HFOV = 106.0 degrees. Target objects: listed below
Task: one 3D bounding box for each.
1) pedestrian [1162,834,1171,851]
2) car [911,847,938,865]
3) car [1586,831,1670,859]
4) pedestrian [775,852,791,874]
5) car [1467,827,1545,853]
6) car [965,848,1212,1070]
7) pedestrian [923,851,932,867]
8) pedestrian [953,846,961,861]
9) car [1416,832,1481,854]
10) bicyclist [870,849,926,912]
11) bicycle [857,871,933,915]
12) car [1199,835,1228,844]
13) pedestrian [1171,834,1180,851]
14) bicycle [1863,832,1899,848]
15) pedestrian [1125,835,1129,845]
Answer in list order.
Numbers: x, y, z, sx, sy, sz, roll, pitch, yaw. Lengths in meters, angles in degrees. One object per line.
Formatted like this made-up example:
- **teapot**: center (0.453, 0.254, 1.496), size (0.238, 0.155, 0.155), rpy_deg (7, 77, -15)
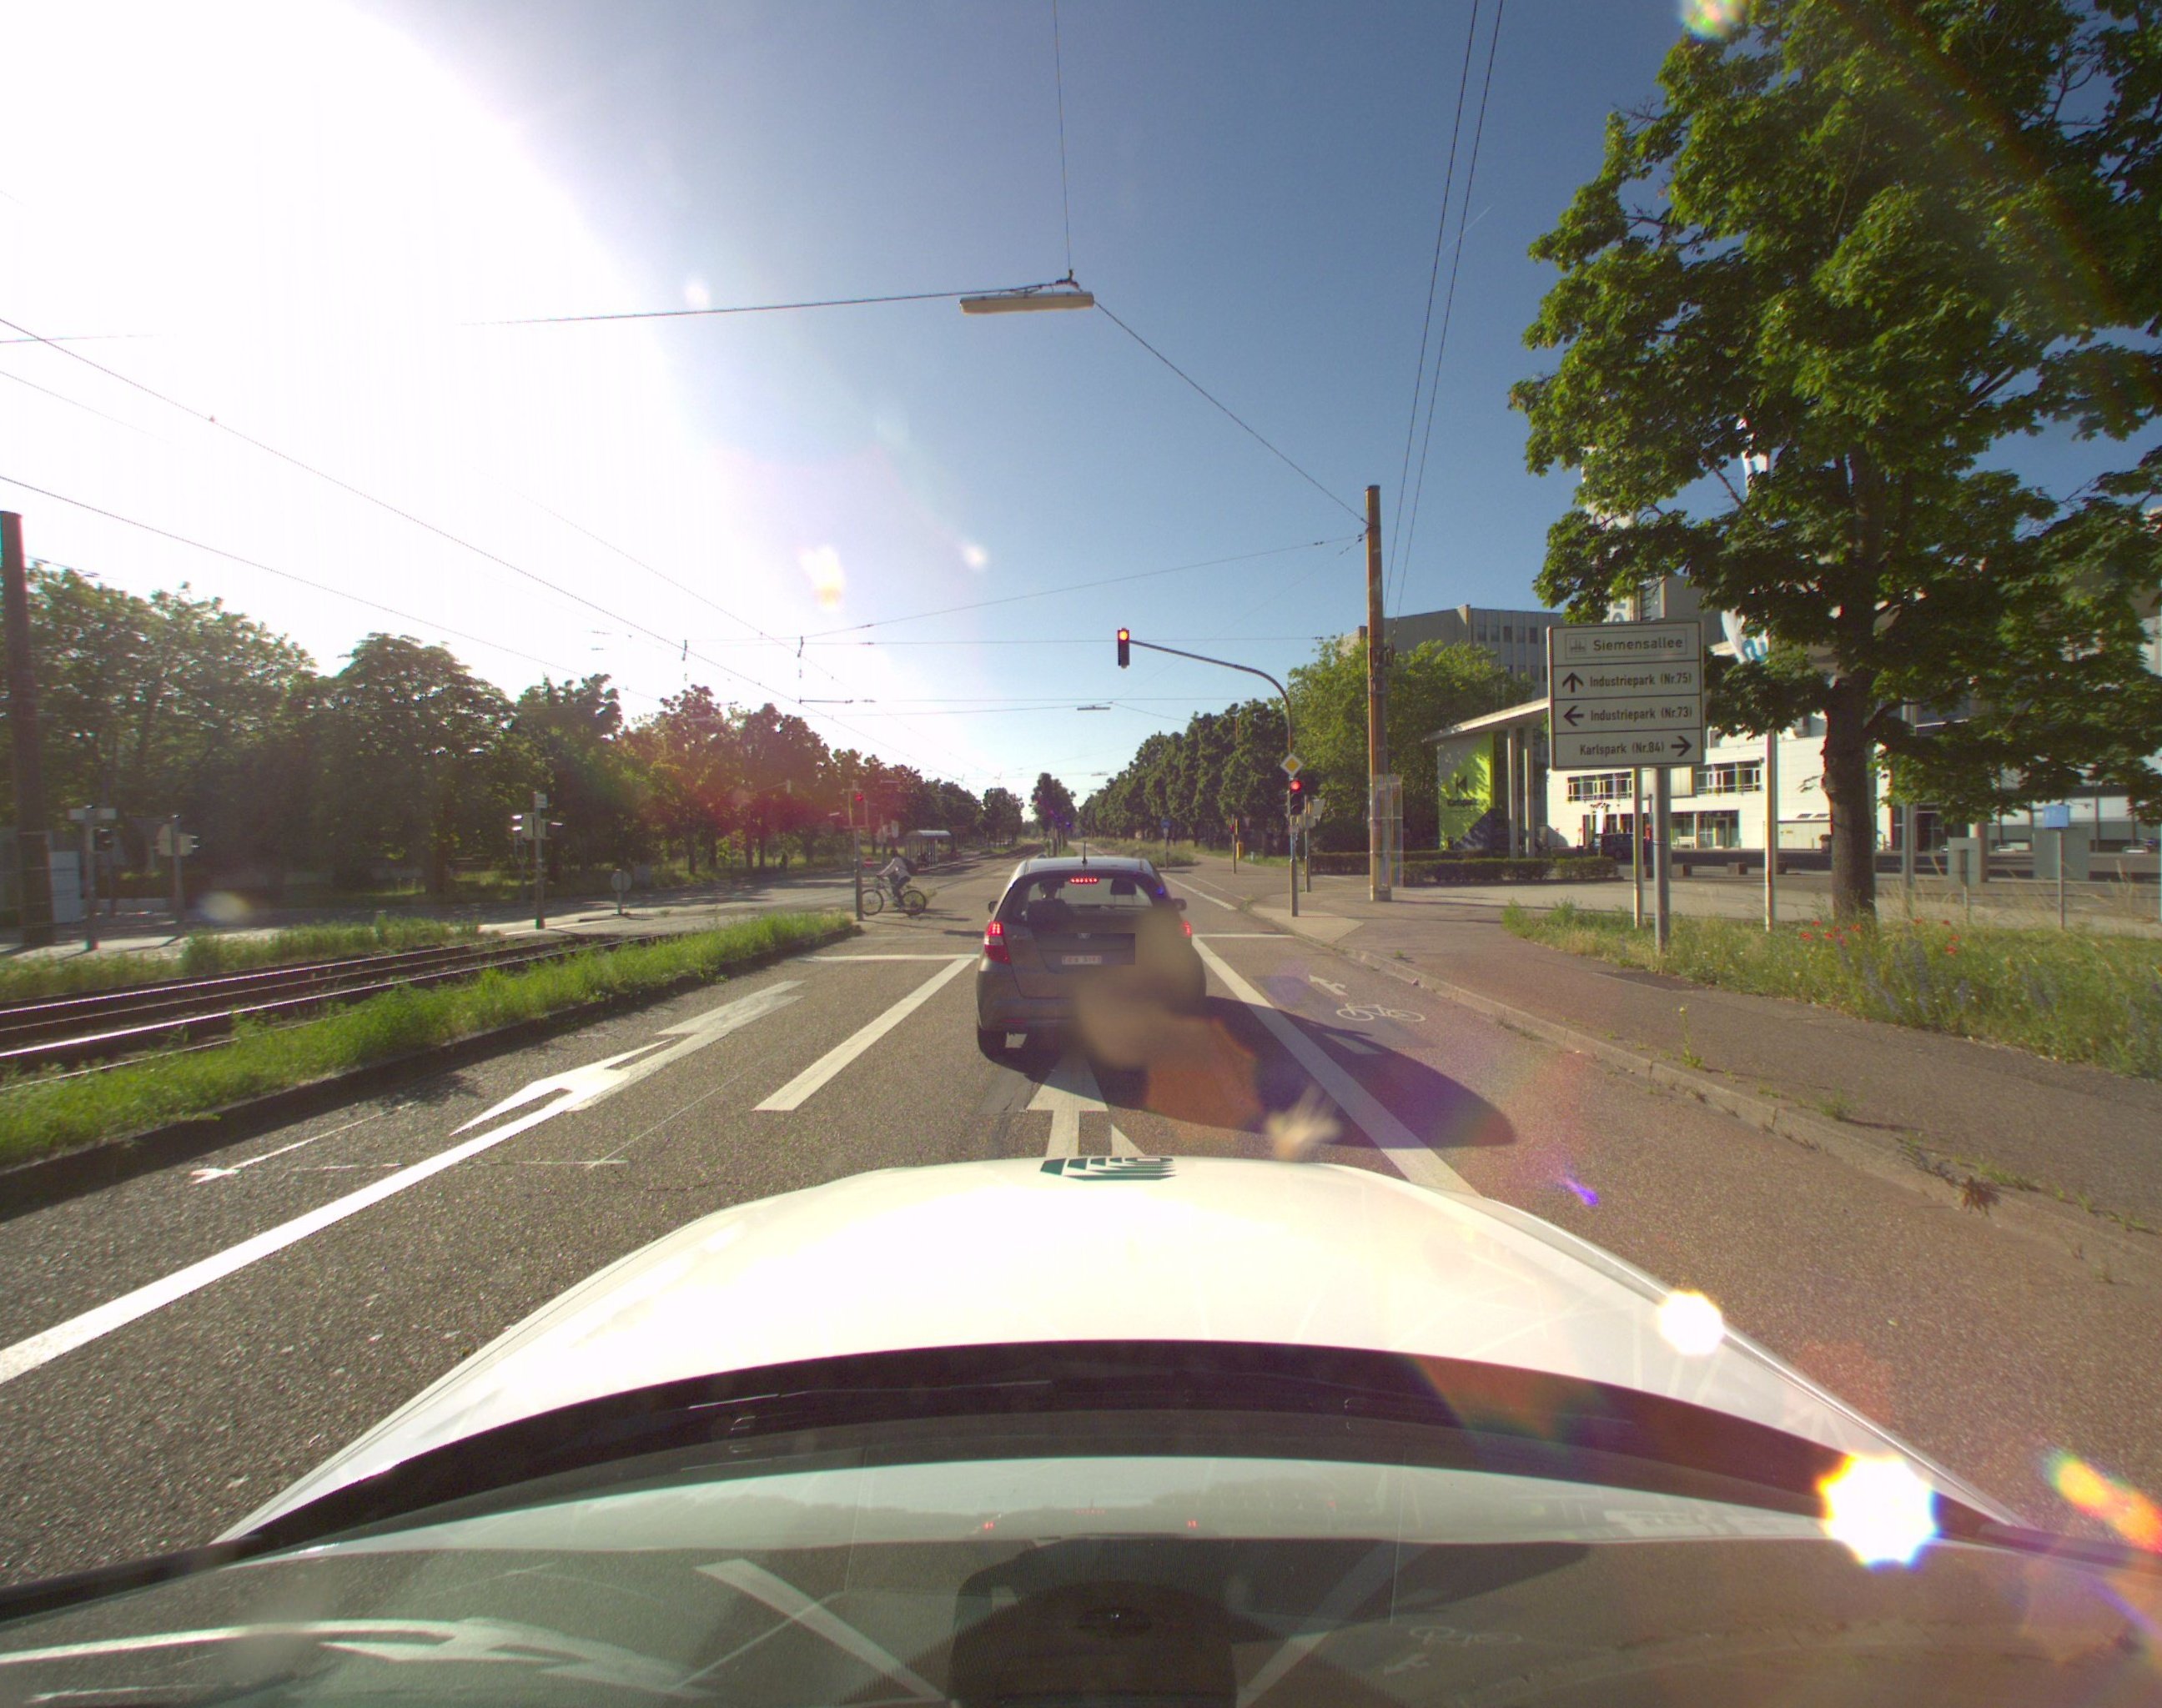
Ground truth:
- **pedestrian**: center (9.939, -1.305, 94.176), size (0.880, 1.884, 0.875), rpy_deg (-2, 1, -2)
- **car**: center (-18.180, 0.224, 94.948), size (2.087, 1.810, 4.792), rpy_deg (-3, 1, 0)
- **car**: center (33.323, -0.565, 49.644), size (3.984, 1.578, 1.949), rpy_deg (-1, 0, -8)
- **pedestrian**: center (-24.159, 0.698, 66.038), size (0.751, 1.734, 0.943), rpy_deg (-1, 1, 30)
- **car**: center (31.129, -1.046, 59.688), size (4.888, 1.757, 2.082), rpy_deg (-2, 1, -14)
- **car**: center (0.109, 0.736, 7.514), size (1.694, 1.524, 3.711), rpy_deg (-1, 0, 2)
- **pedestrian**: center (-12.443, 0.380, 66.008), size (0.562, 1.257, 0.581), rpy_deg (-4, 0, 1)
- **pedestrian**: center (-12.265, -0.048, 80.577), size (0.542, 1.447, 0.559), rpy_deg (-2, 0, 1)
- **car**: center (30.047, -0.922, 66.666), size (4.448, 1.686, 1.892), rpy_deg (-2, 1, -4)
- **bicyclist**: center (-4.674, 0.665, 20.892), size (1.228, 1.593, 0.805), rpy_deg (0, 0, 0)
- **bicycle**: center (-4.754, 0.992, 20.903), size (1.769, 1.102, 0.699), rpy_deg (0, 0, 0)
- **car**: center (23.470, -2.550, 144.256), size (4.623, 1.555, 1.997), rpy_deg (-2, 1, -5)
- **pedestrian**: center (10.874, -1.310, 94.084), size (0.880, 1.884, 0.875), rpy_deg (-2, 1, -2)
- **bicycle**: center (52.273, -0.896, 53.247), size (0.565, 1.004, 1.614), rpy_deg (-2, 1, -13)
- **pedestrian**: center (7.967, -2.412, 141.119), size (0.723, 1.690, 0.820), rpy_deg (-1, -1, -1)
